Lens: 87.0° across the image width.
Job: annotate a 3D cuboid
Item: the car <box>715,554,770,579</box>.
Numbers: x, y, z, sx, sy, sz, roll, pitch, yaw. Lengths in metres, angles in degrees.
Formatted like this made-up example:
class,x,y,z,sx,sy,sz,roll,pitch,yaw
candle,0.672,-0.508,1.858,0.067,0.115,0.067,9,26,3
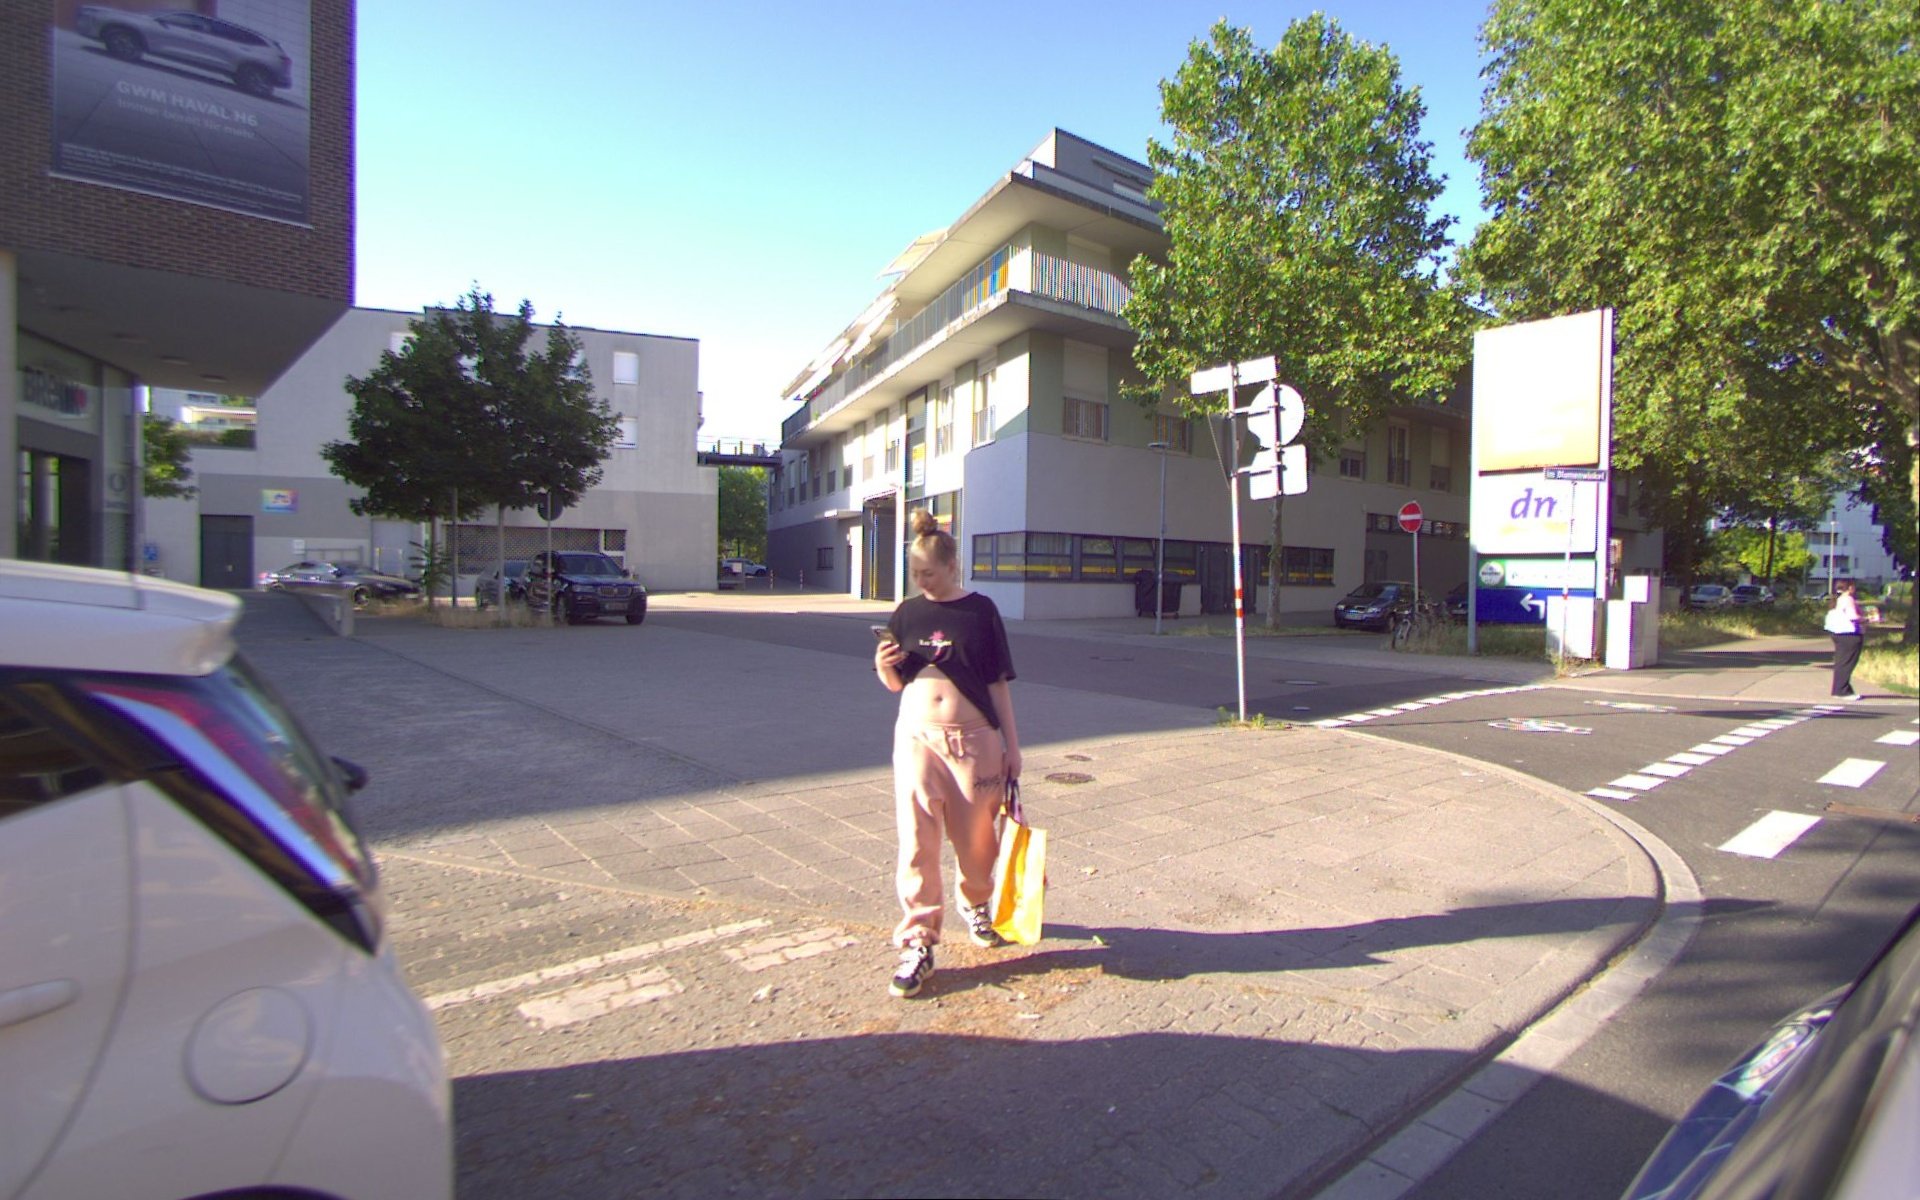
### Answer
class,x,y,z,sx,sy,sz,roll,pitch,yaw
car,-16.894,-2.585,78.648,3.916,1.896,1.783,0,2,-20

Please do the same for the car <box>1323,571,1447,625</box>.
class,x,y,z,sx,sy,sz,roll,pitch,yaw
car,12.798,-0.081,30.399,4.053,1.487,1.862,0,2,-42

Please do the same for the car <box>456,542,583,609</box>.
class,x,y,z,sx,sy,sz,roll,pitch,yaw
car,-12.402,-0.722,28.328,1.995,1.683,4.492,0,2,-41

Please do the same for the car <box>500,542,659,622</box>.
class,x,y,z,sx,sy,sz,roll,pitch,yaw
car,-9.049,-0.476,23.855,1.996,1.683,4.491,0,3,-42

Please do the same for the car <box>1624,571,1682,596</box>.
class,x,y,z,sx,sy,sz,roll,pitch,yaw
car,48.524,-1.157,70.849,3.483,1.473,1.679,4,0,-23

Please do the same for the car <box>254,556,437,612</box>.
class,x,y,z,sx,sy,sz,roll,pitch,yaw
car,-18.425,-0.508,30.405,4.801,1.517,1.793,2,2,12

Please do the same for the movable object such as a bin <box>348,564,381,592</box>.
class,x,y,z,sx,sy,sz,roll,pitch,yaw
movable object such as a bin,-24.118,-0.902,41.003,0.902,1.085,0.990,3,1,-18

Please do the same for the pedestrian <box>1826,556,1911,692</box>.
class,x,y,z,sx,sy,sz,roll,pitch,yaw
pedestrian,12.496,0.301,13.938,0.659,1.782,0.761,4,3,33

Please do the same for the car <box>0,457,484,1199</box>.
class,x,y,z,sx,sy,sz,roll,pitch,yaw
car,-2.739,0.554,0.851,3.952,1.485,1.638,-1,4,-42

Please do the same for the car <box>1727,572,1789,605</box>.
class,x,y,z,sx,sy,sz,roll,pitch,yaw
car,45.143,-0.661,57.231,4.243,1.793,1.909,0,2,-40

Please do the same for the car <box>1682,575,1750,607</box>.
class,x,y,z,sx,sy,sz,roll,pitch,yaw
car,39.175,-0.485,52.395,4.243,1.562,1.863,0,2,-40

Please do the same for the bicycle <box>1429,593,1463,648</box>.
class,x,y,z,sx,sy,sz,roll,pitch,yaw
bicycle,9.494,0.381,19.763,0.381,1.016,1.469,2,2,33

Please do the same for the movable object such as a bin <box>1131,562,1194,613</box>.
class,x,y,z,sx,sy,sz,roll,pitch,yaw
movable object such as a bin,6.114,-0.387,30.612,1.379,1.481,1.199,0,2,-28

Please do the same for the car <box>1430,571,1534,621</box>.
class,x,y,z,sx,sy,sz,roll,pitch,yaw
car,17.931,-0.159,34.704,3.692,1.572,1.863,0,2,-40

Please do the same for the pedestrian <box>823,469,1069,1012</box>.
class,x,y,z,sx,sy,sz,roll,pitch,yaw
pedestrian,-0.025,0.434,3.668,0.711,1.744,0.691,1,1,14
